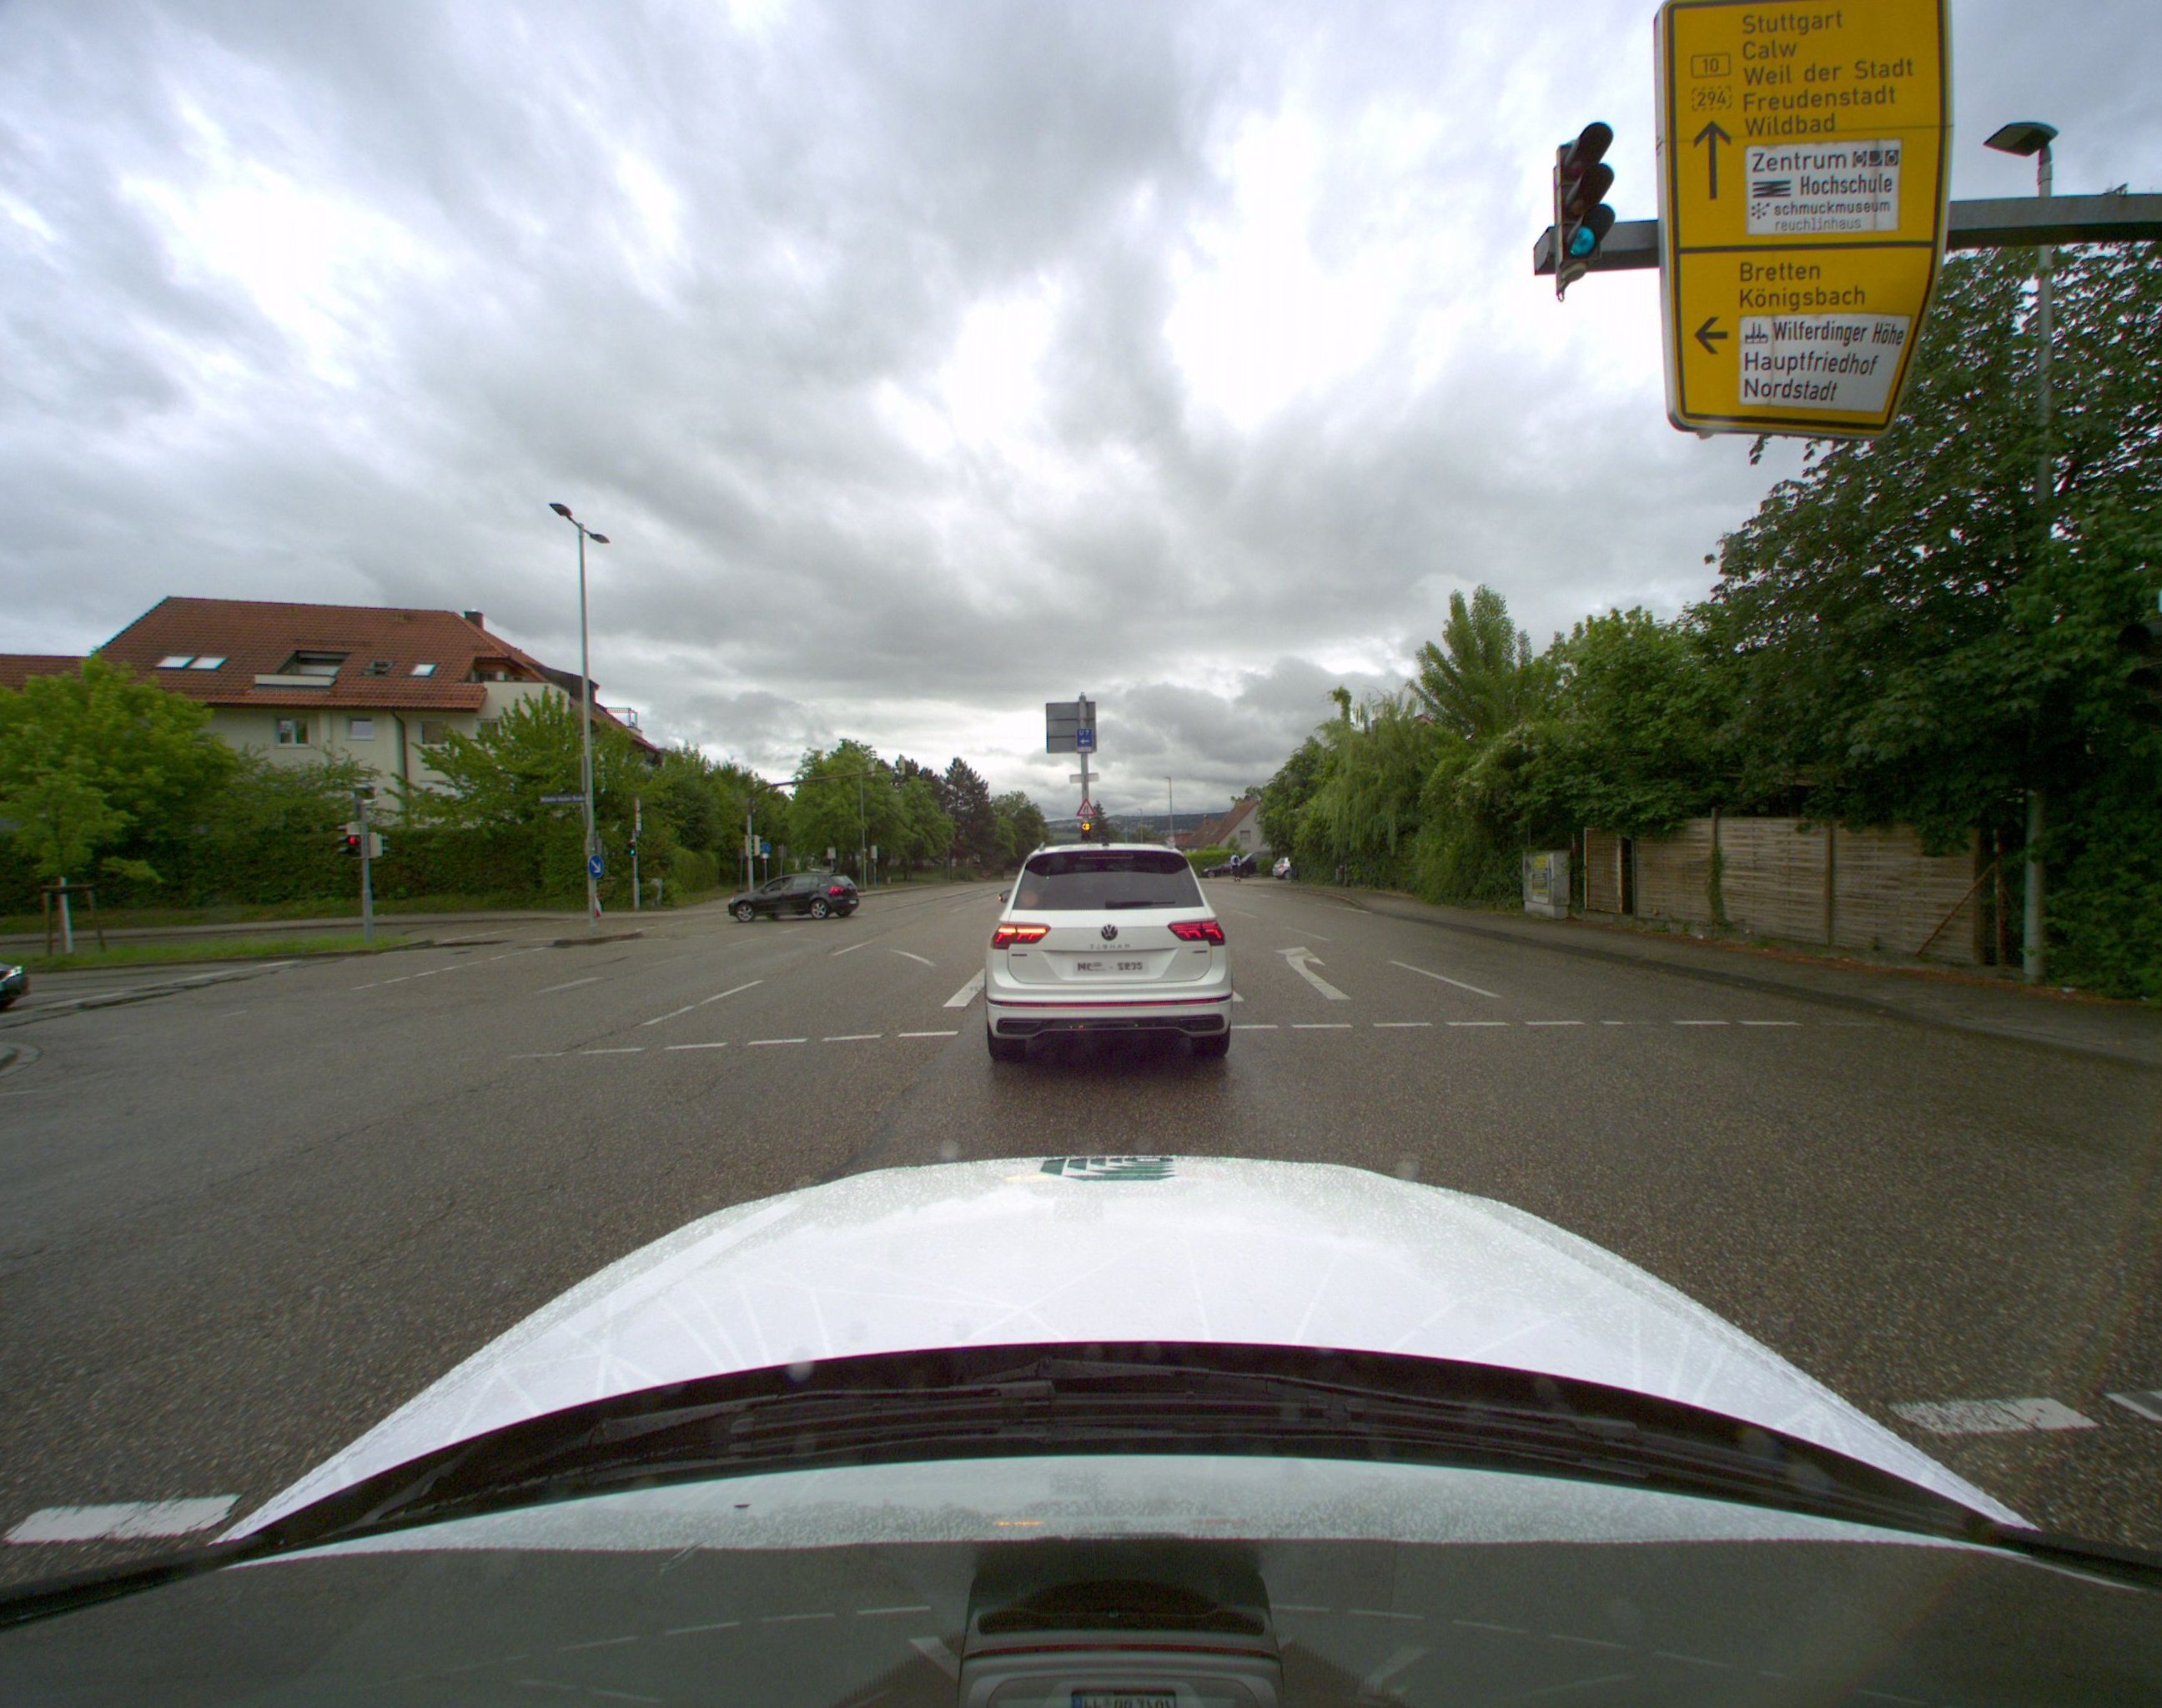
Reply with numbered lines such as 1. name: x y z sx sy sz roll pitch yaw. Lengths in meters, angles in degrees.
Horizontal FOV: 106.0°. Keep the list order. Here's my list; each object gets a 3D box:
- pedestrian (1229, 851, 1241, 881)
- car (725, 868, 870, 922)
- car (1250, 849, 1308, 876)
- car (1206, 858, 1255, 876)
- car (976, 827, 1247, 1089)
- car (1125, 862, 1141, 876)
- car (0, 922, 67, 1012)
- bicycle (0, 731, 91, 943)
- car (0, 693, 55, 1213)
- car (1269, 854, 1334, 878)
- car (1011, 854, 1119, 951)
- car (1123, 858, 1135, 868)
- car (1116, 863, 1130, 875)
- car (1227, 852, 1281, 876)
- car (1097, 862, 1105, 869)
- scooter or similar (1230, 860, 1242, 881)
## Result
1. pedestrian: 10.296 0.786 54.432 0.654 2.002 0.717 -1 -1 -2
2. car: -9.053 1.306 26.130 3.962 1.479 1.771 -3 0 10
3. car: 14.134 0.613 58.204 3.618 1.746 1.706 -2 0 -2
4. car: 11.989 1.079 65.537 3.676 1.370 1.518 -1 -2 0
5. car: 0.233 0.684 7.446 1.757 1.696 4.273 0 0 1
6. car: 6.291 1.833 98.331 1.843 1.574 4.002 0 0 2
7. car: -19.848 2.037 13.109 4.414 1.393 1.773 -4 0 -5
8. bicycle: -6.547 -0.045 4.442 1.631 1.126 0.468 -3 0 0
9. car: -6.437 0.513 1.258 2.289 2.528 5.773 -2 0 0
10. car: 14.278 0.799 52.827 3.709 1.395 1.725 -2 -2 -6
11. car: -0.214 0.827 15.797 1.792 1.589 3.927 -2 0 2
12. car: 8.361 1.586 141.868 1.843 1.574 4.002 -2 0 2
13. car: 5.973 2.064 116.493 1.843 1.574 4.002 -2 0 2
14. car: 12.851 0.744 60.599 3.618 1.626 1.789 -2 -1 -3
15. car: 4.835 2.899 198.532 1.843 1.574 4.002 -2 0 2
16. scooter or similar: 10.393 1.099 54.507 0.460 1.361 1.383 -1 -1 -2
